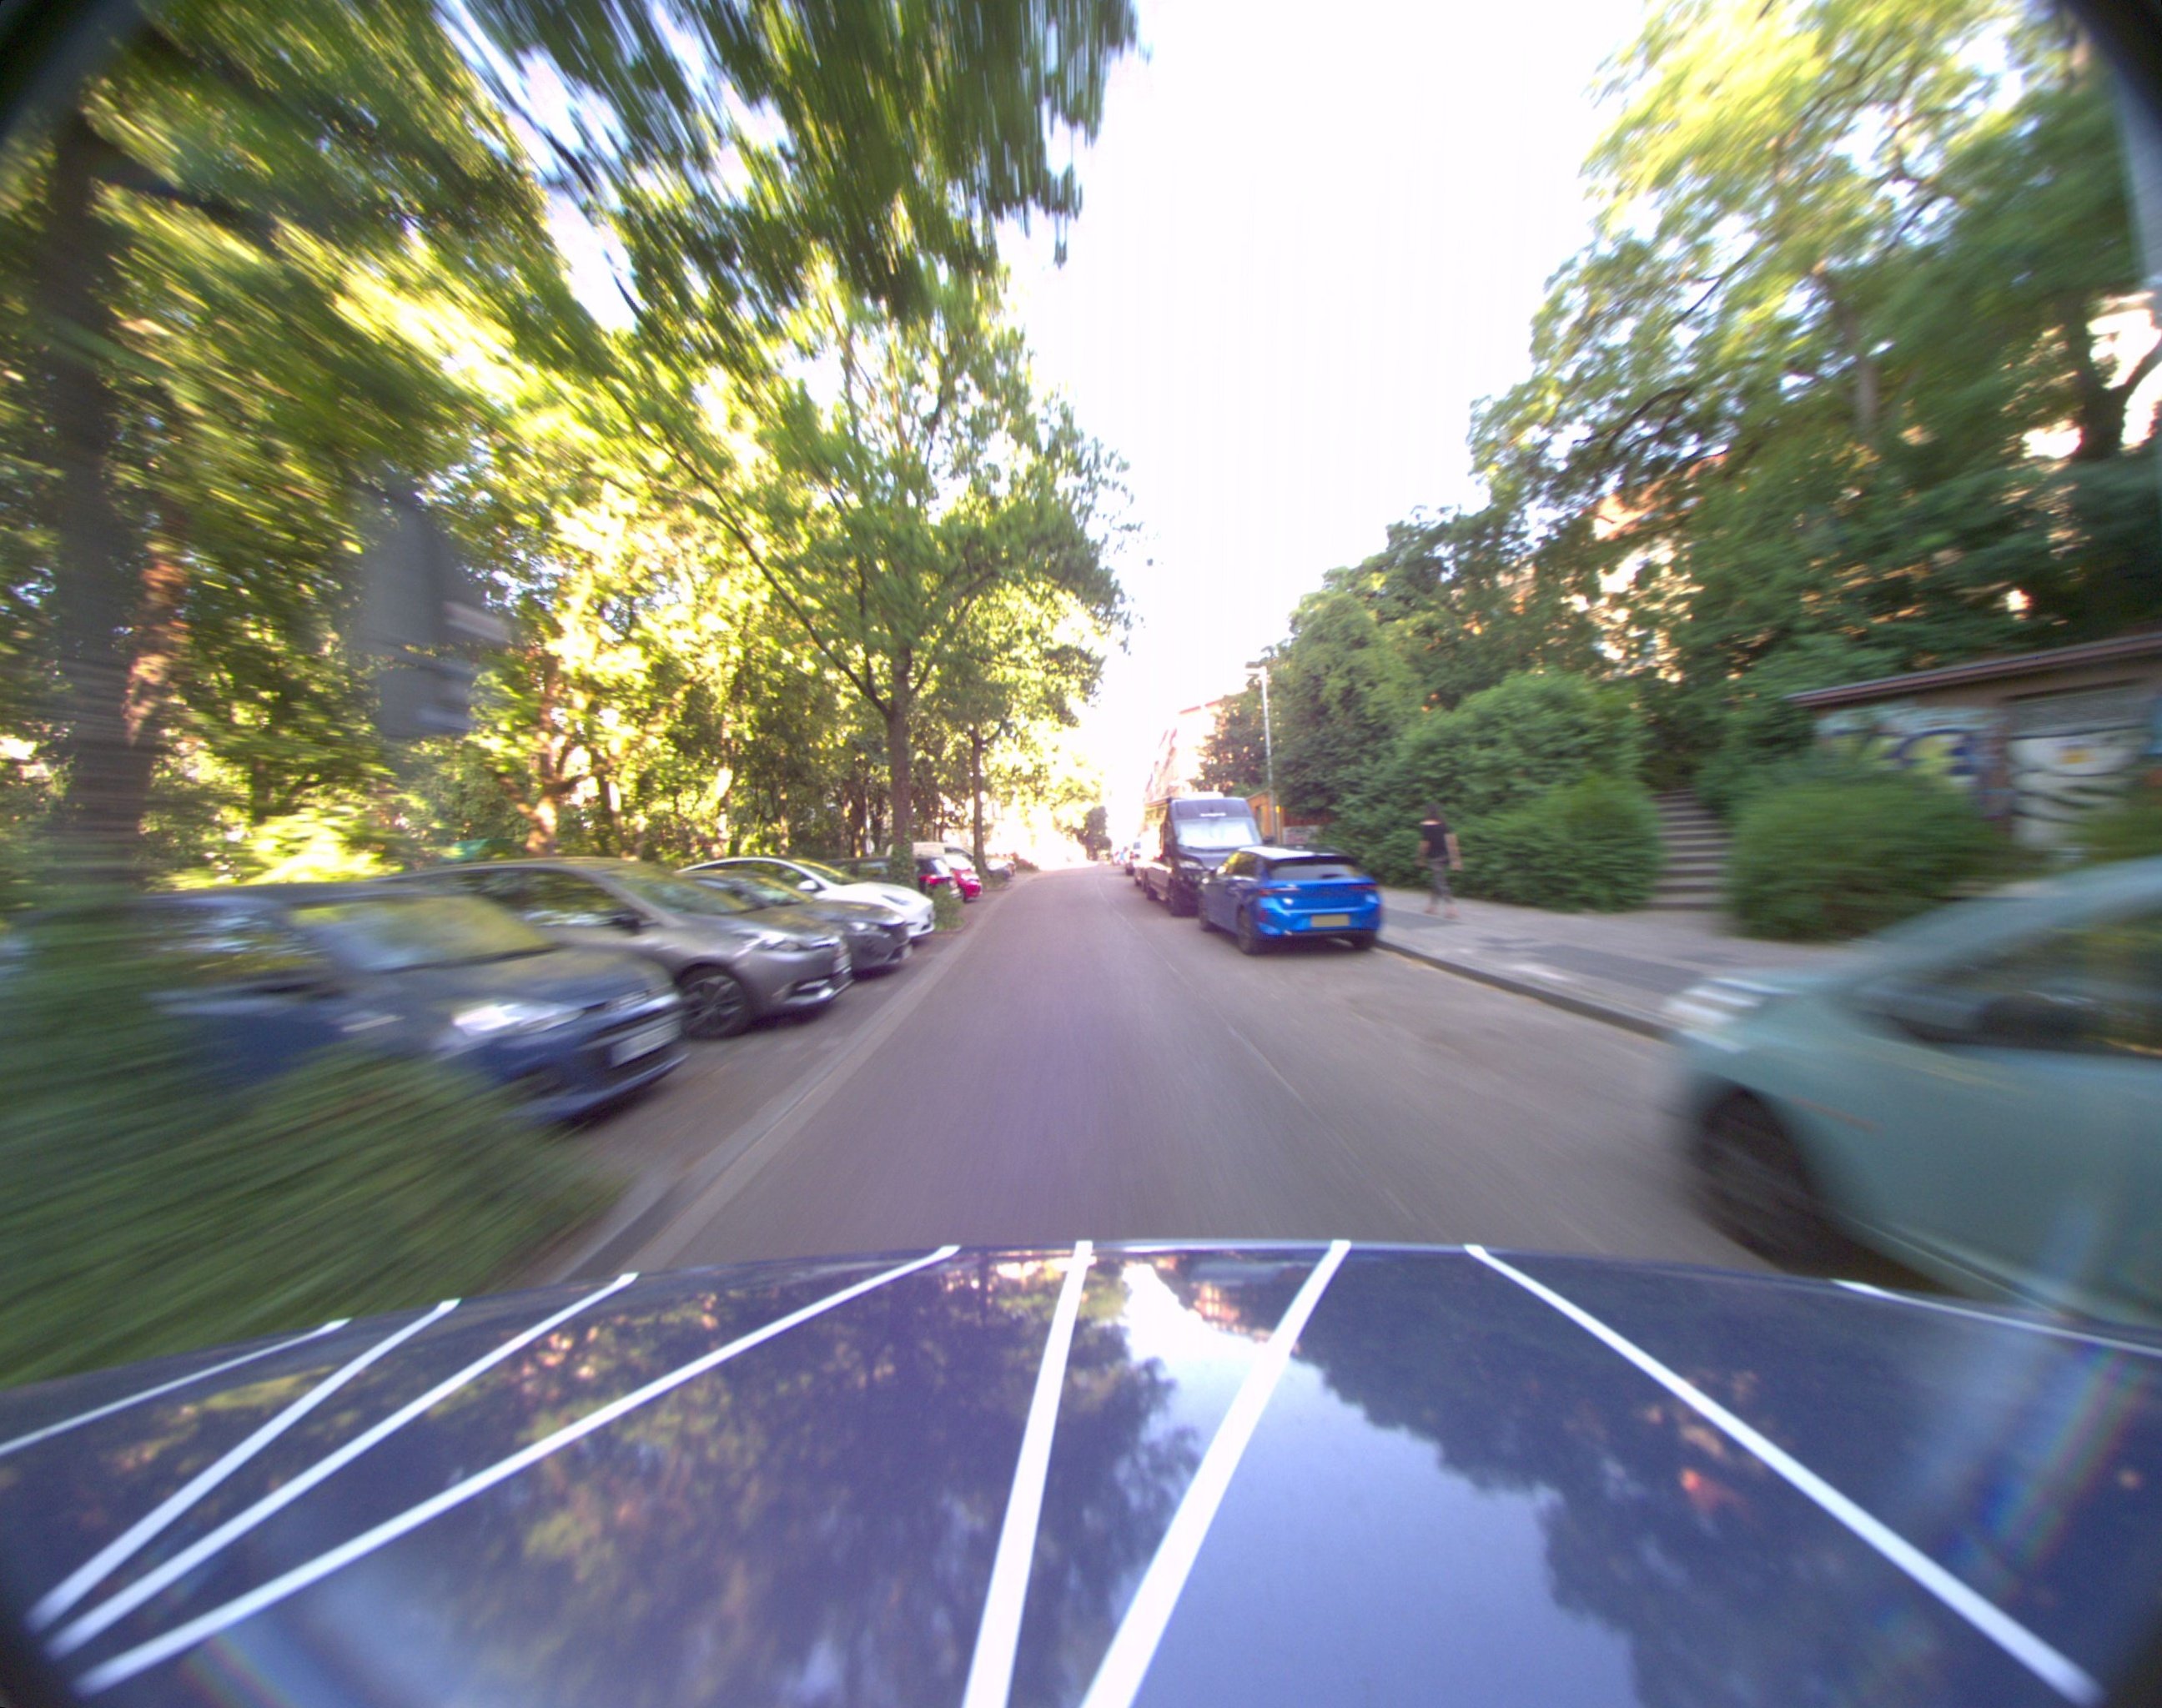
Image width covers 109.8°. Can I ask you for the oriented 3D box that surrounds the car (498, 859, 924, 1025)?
[{"bbox_3d":[-4.450,1.024,9.700,4.385,1.524,1.875,-5,2,0],"label":"car"}]

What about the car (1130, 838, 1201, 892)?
[{"bbox_3d":[2.570,0.269,23.989,1.703,1.499,4.227,-2,2,-1],"label":"car"}]

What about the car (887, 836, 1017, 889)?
[{"bbox_3d":[-4.913,0.290,29.516,4.683,1.914,1.872,-1,2,0],"label":"car"}]

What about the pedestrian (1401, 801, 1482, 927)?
[{"bbox_3d":[5.806,0.151,12.282,0.639,1.903,1.046,-5,2,-5],"label":"pedestrian"}]

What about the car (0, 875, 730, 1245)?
[{"bbox_3d":[-4.835,1.093,4.562,4.596,1.597,1.735,-3,2,5],"label":"car"}]

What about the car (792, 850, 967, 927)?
[{"bbox_3d":[-5.116,0.859,19.647,3.997,1.565,1.586,-5,2,0],"label":"car"}]

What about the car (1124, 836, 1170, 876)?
[{"bbox_3d":[2.695,0.007,31.867,1.703,1.489,4.549,-2,2,3],"label":"car"}]

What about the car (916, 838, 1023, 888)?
[{"bbox_3d":[-4.655,0.363,32.104,3.995,1.748,1.799,-4,2,5],"label":"car"}]

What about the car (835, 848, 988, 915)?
[{"bbox_3d":[-4.855,0.775,22.189,3.997,1.565,1.586,-5,2,0],"label":"car"}]

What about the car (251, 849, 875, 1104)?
[{"bbox_3d":[-4.455,0.982,7.186,4.386,1.699,1.906,-5,2,-3],"label":"car"}]

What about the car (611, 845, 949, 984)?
[{"bbox_3d":[-4.640,0.894,12.263,4.544,1.686,1.907,-5,2,0],"label":"car"}]

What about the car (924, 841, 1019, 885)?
[{"bbox_3d":[-4.944,0.389,34.746,3.998,1.618,1.798,-5,2,-2],"label":"car"}]

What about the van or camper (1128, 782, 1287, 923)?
[{"bbox_3d":[2.614,-0.091,17.632,2.242,2.509,6.418,-5,1,-2],"label":"van or camper"}]

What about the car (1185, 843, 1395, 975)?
[{"bbox_3d":[2.890,0.652,11.586,1.749,1.458,4.373,-5,1,-2],"label":"car"}]

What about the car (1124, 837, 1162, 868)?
[{"bbox_3d":[3.066,-0.135,38.250,1.703,1.392,4.193,-2,2,3],"label":"car"}]

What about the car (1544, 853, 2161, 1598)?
[{"bbox_3d":[3.117,0.818,1.764,1.599,1.538,3.914,-2,1,-1],"label":"car"}]

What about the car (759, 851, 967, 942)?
[{"bbox_3d":[-4.722,0.896,16.866,4.031,1.565,1.586,-5,2,0],"label":"car"}]

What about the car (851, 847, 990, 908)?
[{"bbox_3d":[-5.167,0.737,24.737,3.996,1.565,1.666,-4,2,4],"label":"car"}]
